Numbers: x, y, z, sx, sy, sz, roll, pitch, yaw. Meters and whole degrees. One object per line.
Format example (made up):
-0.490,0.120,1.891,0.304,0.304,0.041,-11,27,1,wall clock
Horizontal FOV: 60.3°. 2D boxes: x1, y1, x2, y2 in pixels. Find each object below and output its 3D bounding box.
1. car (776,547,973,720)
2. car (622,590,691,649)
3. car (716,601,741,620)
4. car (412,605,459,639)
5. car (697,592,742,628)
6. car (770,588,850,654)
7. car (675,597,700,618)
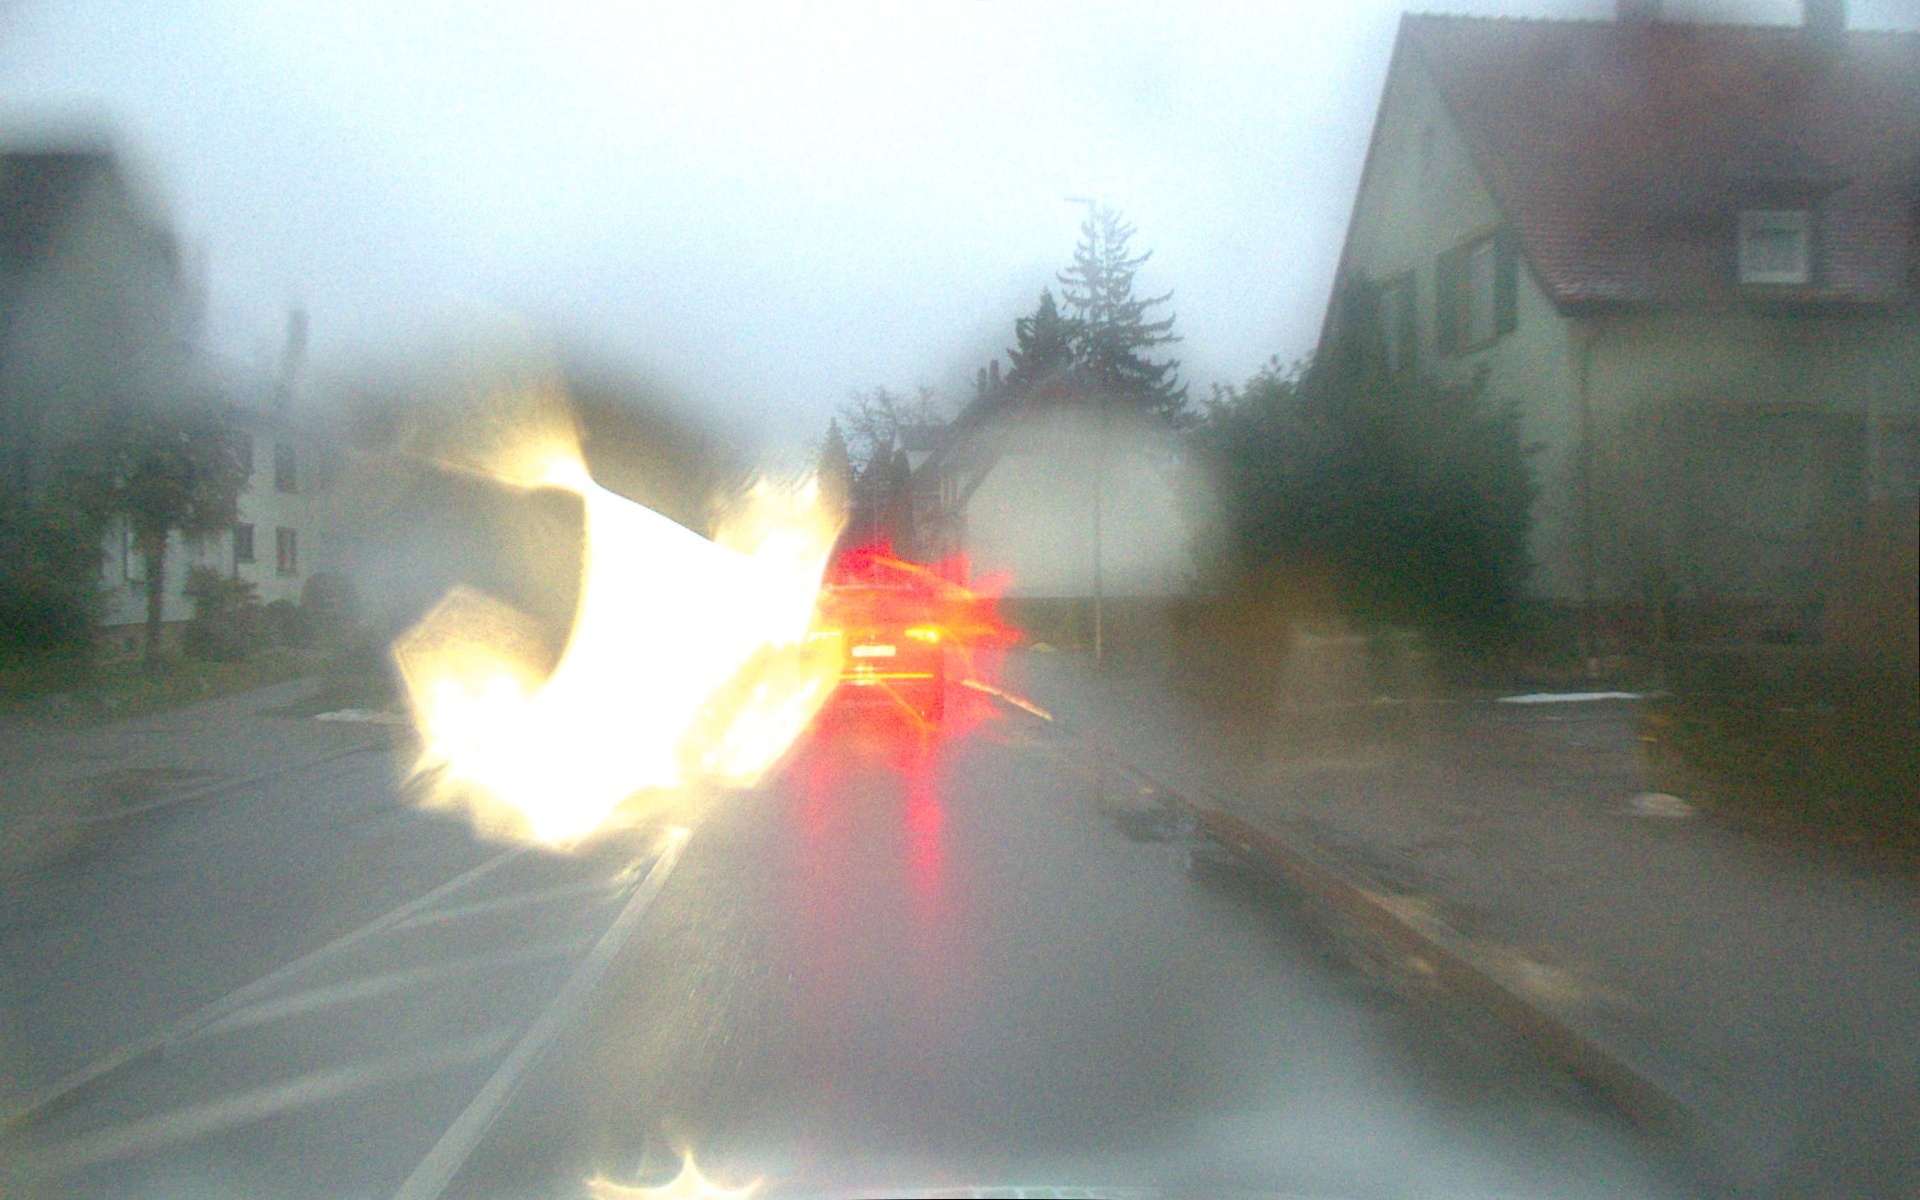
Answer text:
-1.228,0.408,21.769,2.265,1.972,5.012,-1,0,-6,car
-8.916,0.552,48.817,1.789,1.581,3.993,-2,0,-8,car
-17.545,0.815,125.272,1.808,1.355,3.929,-2,0,-9,car
-22.617,0.945,71.290,1.751,1.417,3.976,1,-1,-20,car
-13.799,0.595,94.836,2.268,1.972,5.004,-1,0,-11,car
-4.102,0.523,44.778,1.824,1.676,3.990,0,0,-10,car
-22.149,0.619,134.632,1.877,1.549,3.994,-1,2,-8,car
